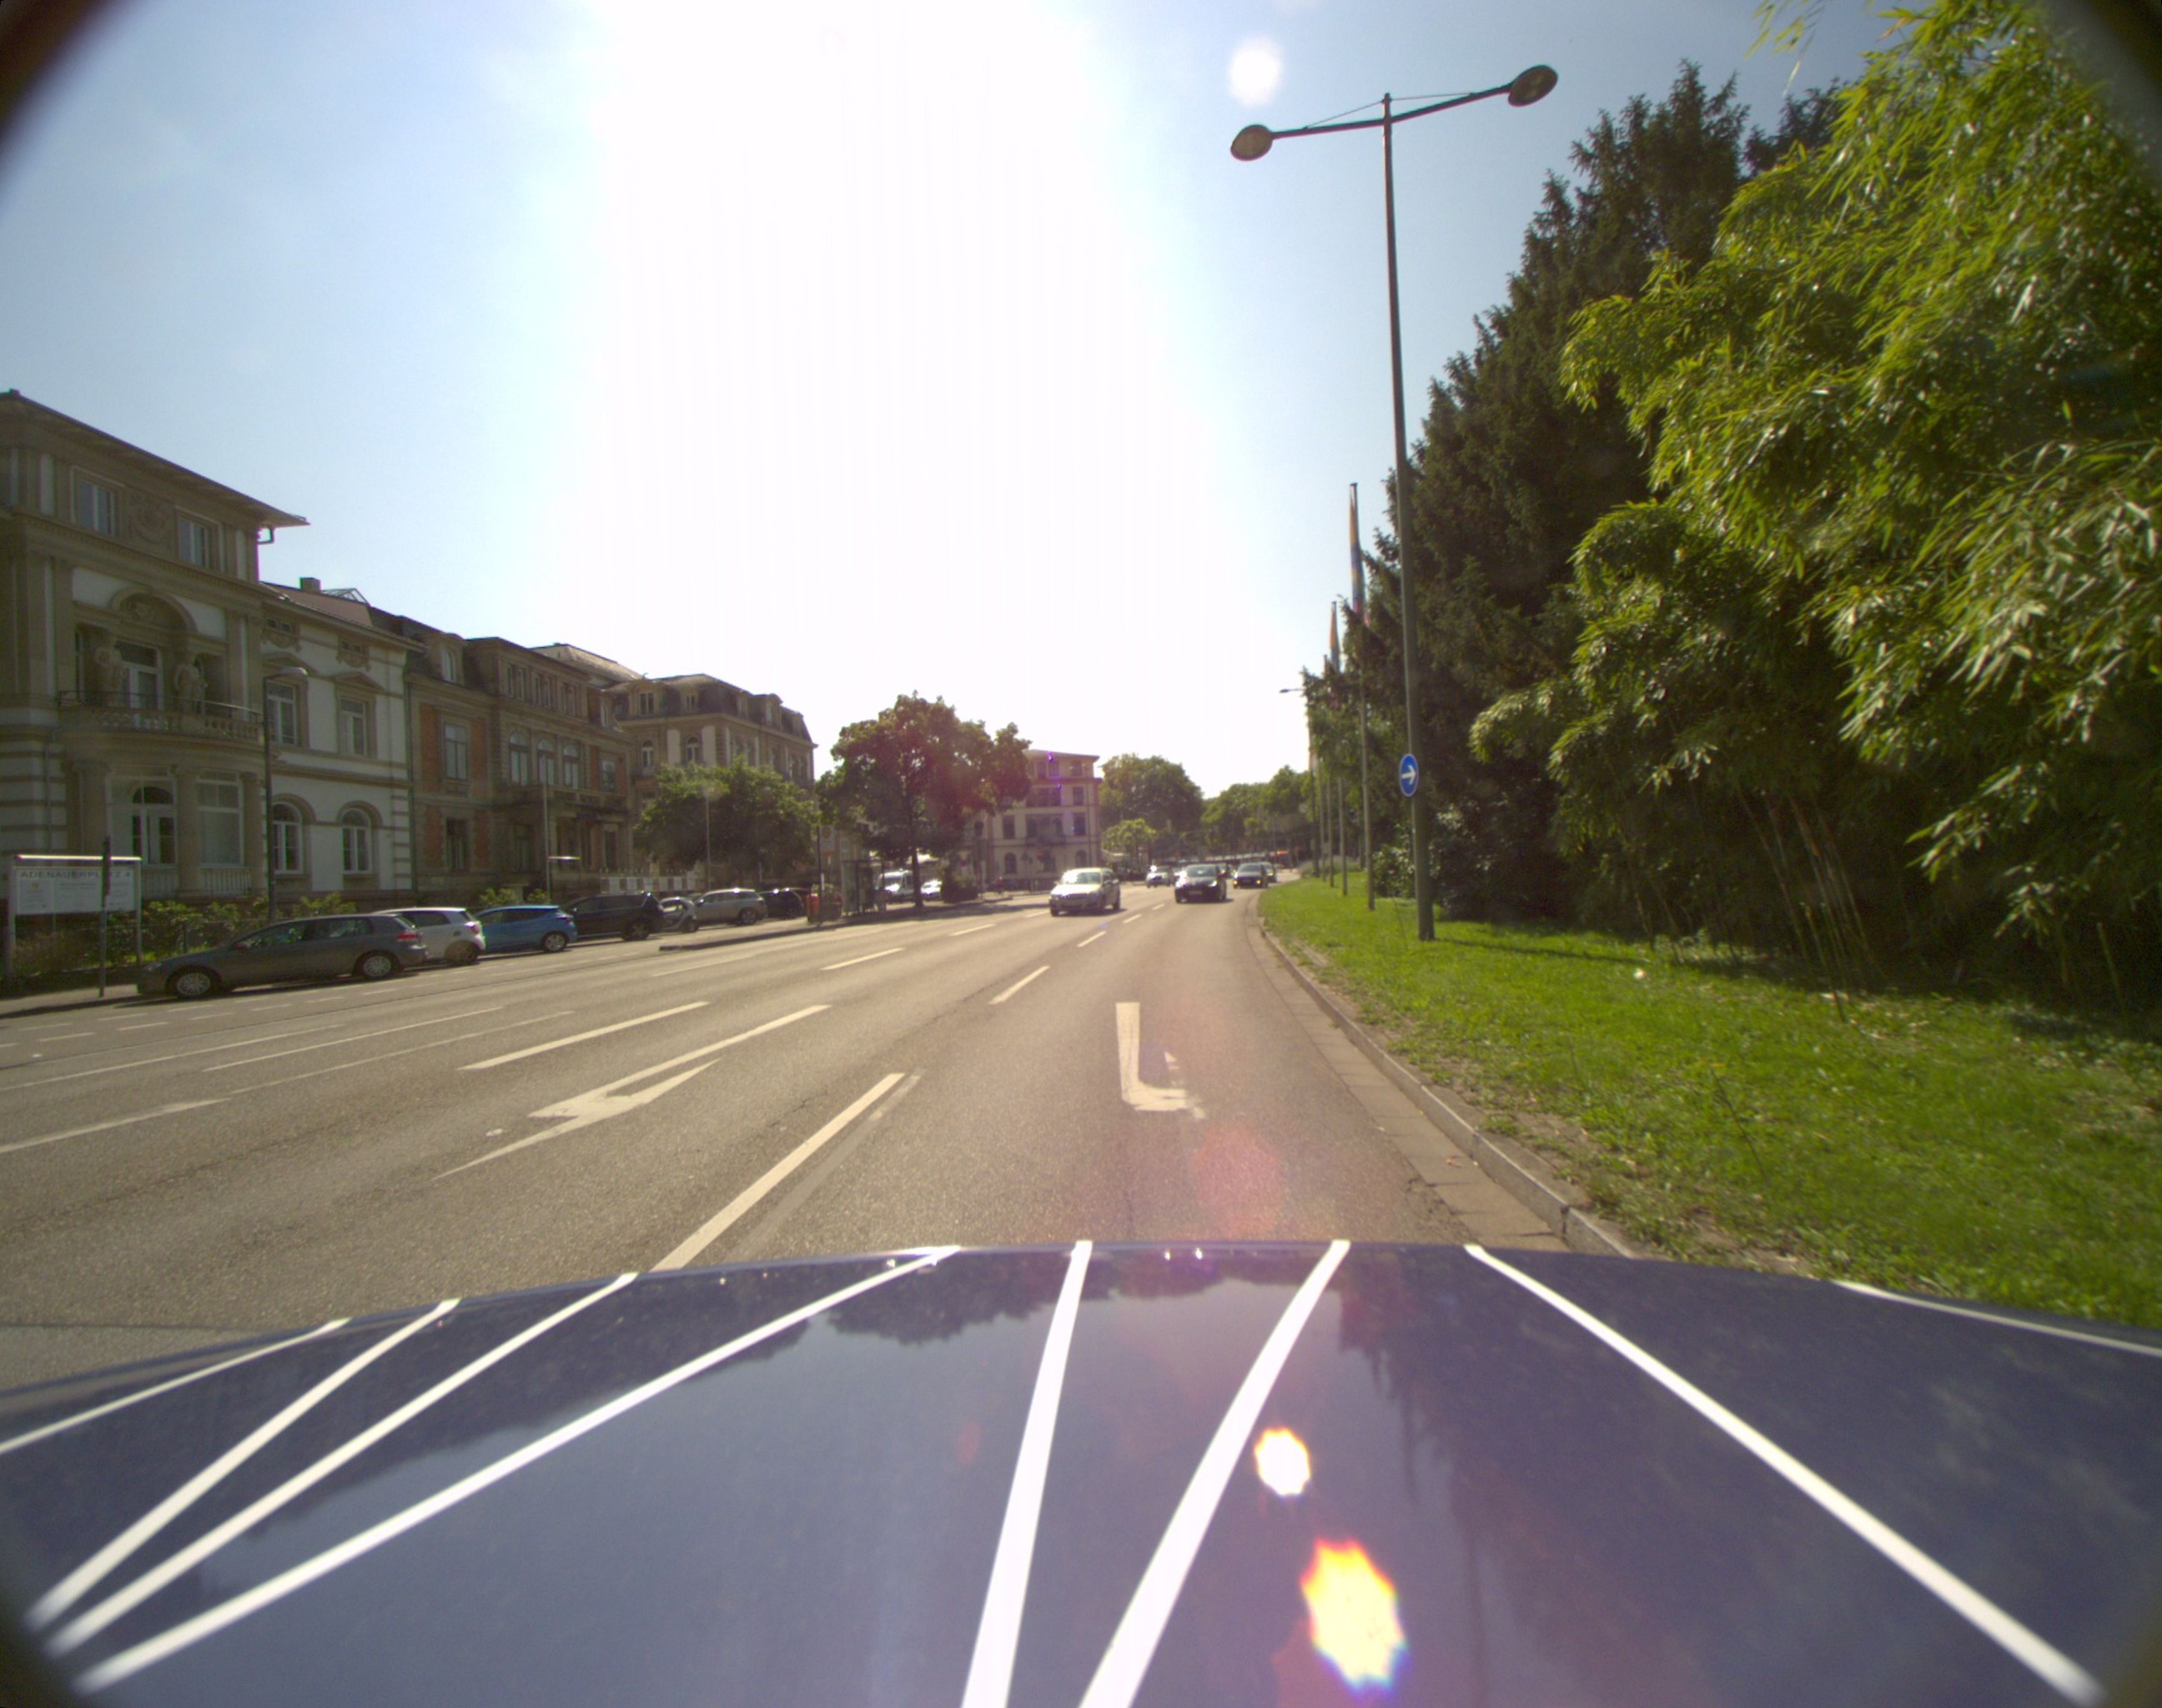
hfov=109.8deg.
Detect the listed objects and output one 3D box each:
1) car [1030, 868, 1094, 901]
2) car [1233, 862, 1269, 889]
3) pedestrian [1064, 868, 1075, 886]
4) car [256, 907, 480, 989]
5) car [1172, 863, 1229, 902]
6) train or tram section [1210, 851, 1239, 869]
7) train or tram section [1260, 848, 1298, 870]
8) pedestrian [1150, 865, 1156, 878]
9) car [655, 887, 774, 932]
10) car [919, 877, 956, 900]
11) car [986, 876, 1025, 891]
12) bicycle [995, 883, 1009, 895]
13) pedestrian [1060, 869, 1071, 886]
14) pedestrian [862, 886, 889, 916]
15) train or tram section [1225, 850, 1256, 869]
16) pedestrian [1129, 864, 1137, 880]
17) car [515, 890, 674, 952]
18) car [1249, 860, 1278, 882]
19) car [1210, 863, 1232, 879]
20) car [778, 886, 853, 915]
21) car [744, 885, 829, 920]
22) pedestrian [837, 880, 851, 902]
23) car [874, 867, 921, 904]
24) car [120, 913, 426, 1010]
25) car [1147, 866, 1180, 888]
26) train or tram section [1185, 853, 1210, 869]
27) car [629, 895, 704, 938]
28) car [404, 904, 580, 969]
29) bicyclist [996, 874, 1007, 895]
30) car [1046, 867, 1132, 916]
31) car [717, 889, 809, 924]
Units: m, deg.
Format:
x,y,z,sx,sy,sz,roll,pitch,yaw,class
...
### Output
x,y,z,sx,sy,sz,roll,pitch,yaw,class
-0.860,1.469,37.242,1.788,1.443,3.980,-2,-1,20,car
10.302,1.272,45.798,1.789,1.484,4.094,-2,-1,17,car
-1.100,2.155,71.748,0.753,1.649,0.830,-3,-1,10,pedestrian
-17.208,2.198,18.606,3.818,1.502,1.709,-2,-1,-39,car
4.935,1.127,30.981,1.789,1.443,4.286,-2,-1,16,car
28.909,1.272,153.320,2.735,3.247,8.732,-3,-1,-9,train or tram section
33.139,0.871,127.483,2.735,3.247,8.732,-3,-1,-9,train or tram section
9.097,2.202,96.034,0.535,1.639,0.674,-3,-1,-6,pedestrian
-16.036,2.387,33.356,4.324,1.619,1.709,-2,-1,-40,car
-10.998,2.626,58.606,1.821,1.616,4.881,-3,-1,0,car
-8.343,3.257,83.678,3.969,1.443,1.793,-2,-1,4,car
-6.114,2.700,58.751,0.592,0.849,1.746,-3,-1,10,bicycle
-1.493,2.229,72.820,0.772,1.562,0.830,-3,-1,11,pedestrian
-8.901,2.028,32.953,1.021,1.190,0.791,-3,-1,-10,pedestrian
30.300,1.139,144.692,2.735,3.247,8.732,-3,-1,-9,train or tram section
6.130,2.159,89.969,0.726,1.794,0.652,-3,-1,-2,pedestrian
-16.490,2.223,25.875,4.282,1.686,1.709,-2,-1,-42,car
13.417,1.219,55.671,1.789,1.461,4.094,-2,-1,17,car
13.748,1.655,74.405,1.789,1.451,4.093,-2,-1,15,car
-15.375,2.658,43.998,3.707,1.409,1.745,-2,-1,-36,car
-15.833,2.583,40.913,3.884,1.565,1.746,-2,-1,-36,car
-19.400,2.987,62.111,0.820,1.730,0.751,-3,-1,0,pedestrian
-13.699,2.311,57.132,1.998,2.587,5.320,-3,-1,2,car
-16.714,2.153,16.088,4.114,1.452,1.823,-2,-1,-36,car
6.098,1.657,55.950,1.789,1.503,4.285,-2,-1,14,car
26.148,1.538,170.628,2.735,3.247,8.732,-3,-1,-9,train or tram section
-16.220,2.410,29.776,1.198,1.473,2.293,-4,-1,44,car
-16.862,2.288,21.849,3.819,1.433,1.709,-2,-1,-42,car
-6.118,2.339,58.835,0.592,1.596,0.685,-3,-1,11,bicyclist
0.371,1.209,25.554,1.717,1.491,4.497,-2,-2,16,car
-15.584,2.552,37.277,3.827,1.408,1.602,-2,-1,-36,car
